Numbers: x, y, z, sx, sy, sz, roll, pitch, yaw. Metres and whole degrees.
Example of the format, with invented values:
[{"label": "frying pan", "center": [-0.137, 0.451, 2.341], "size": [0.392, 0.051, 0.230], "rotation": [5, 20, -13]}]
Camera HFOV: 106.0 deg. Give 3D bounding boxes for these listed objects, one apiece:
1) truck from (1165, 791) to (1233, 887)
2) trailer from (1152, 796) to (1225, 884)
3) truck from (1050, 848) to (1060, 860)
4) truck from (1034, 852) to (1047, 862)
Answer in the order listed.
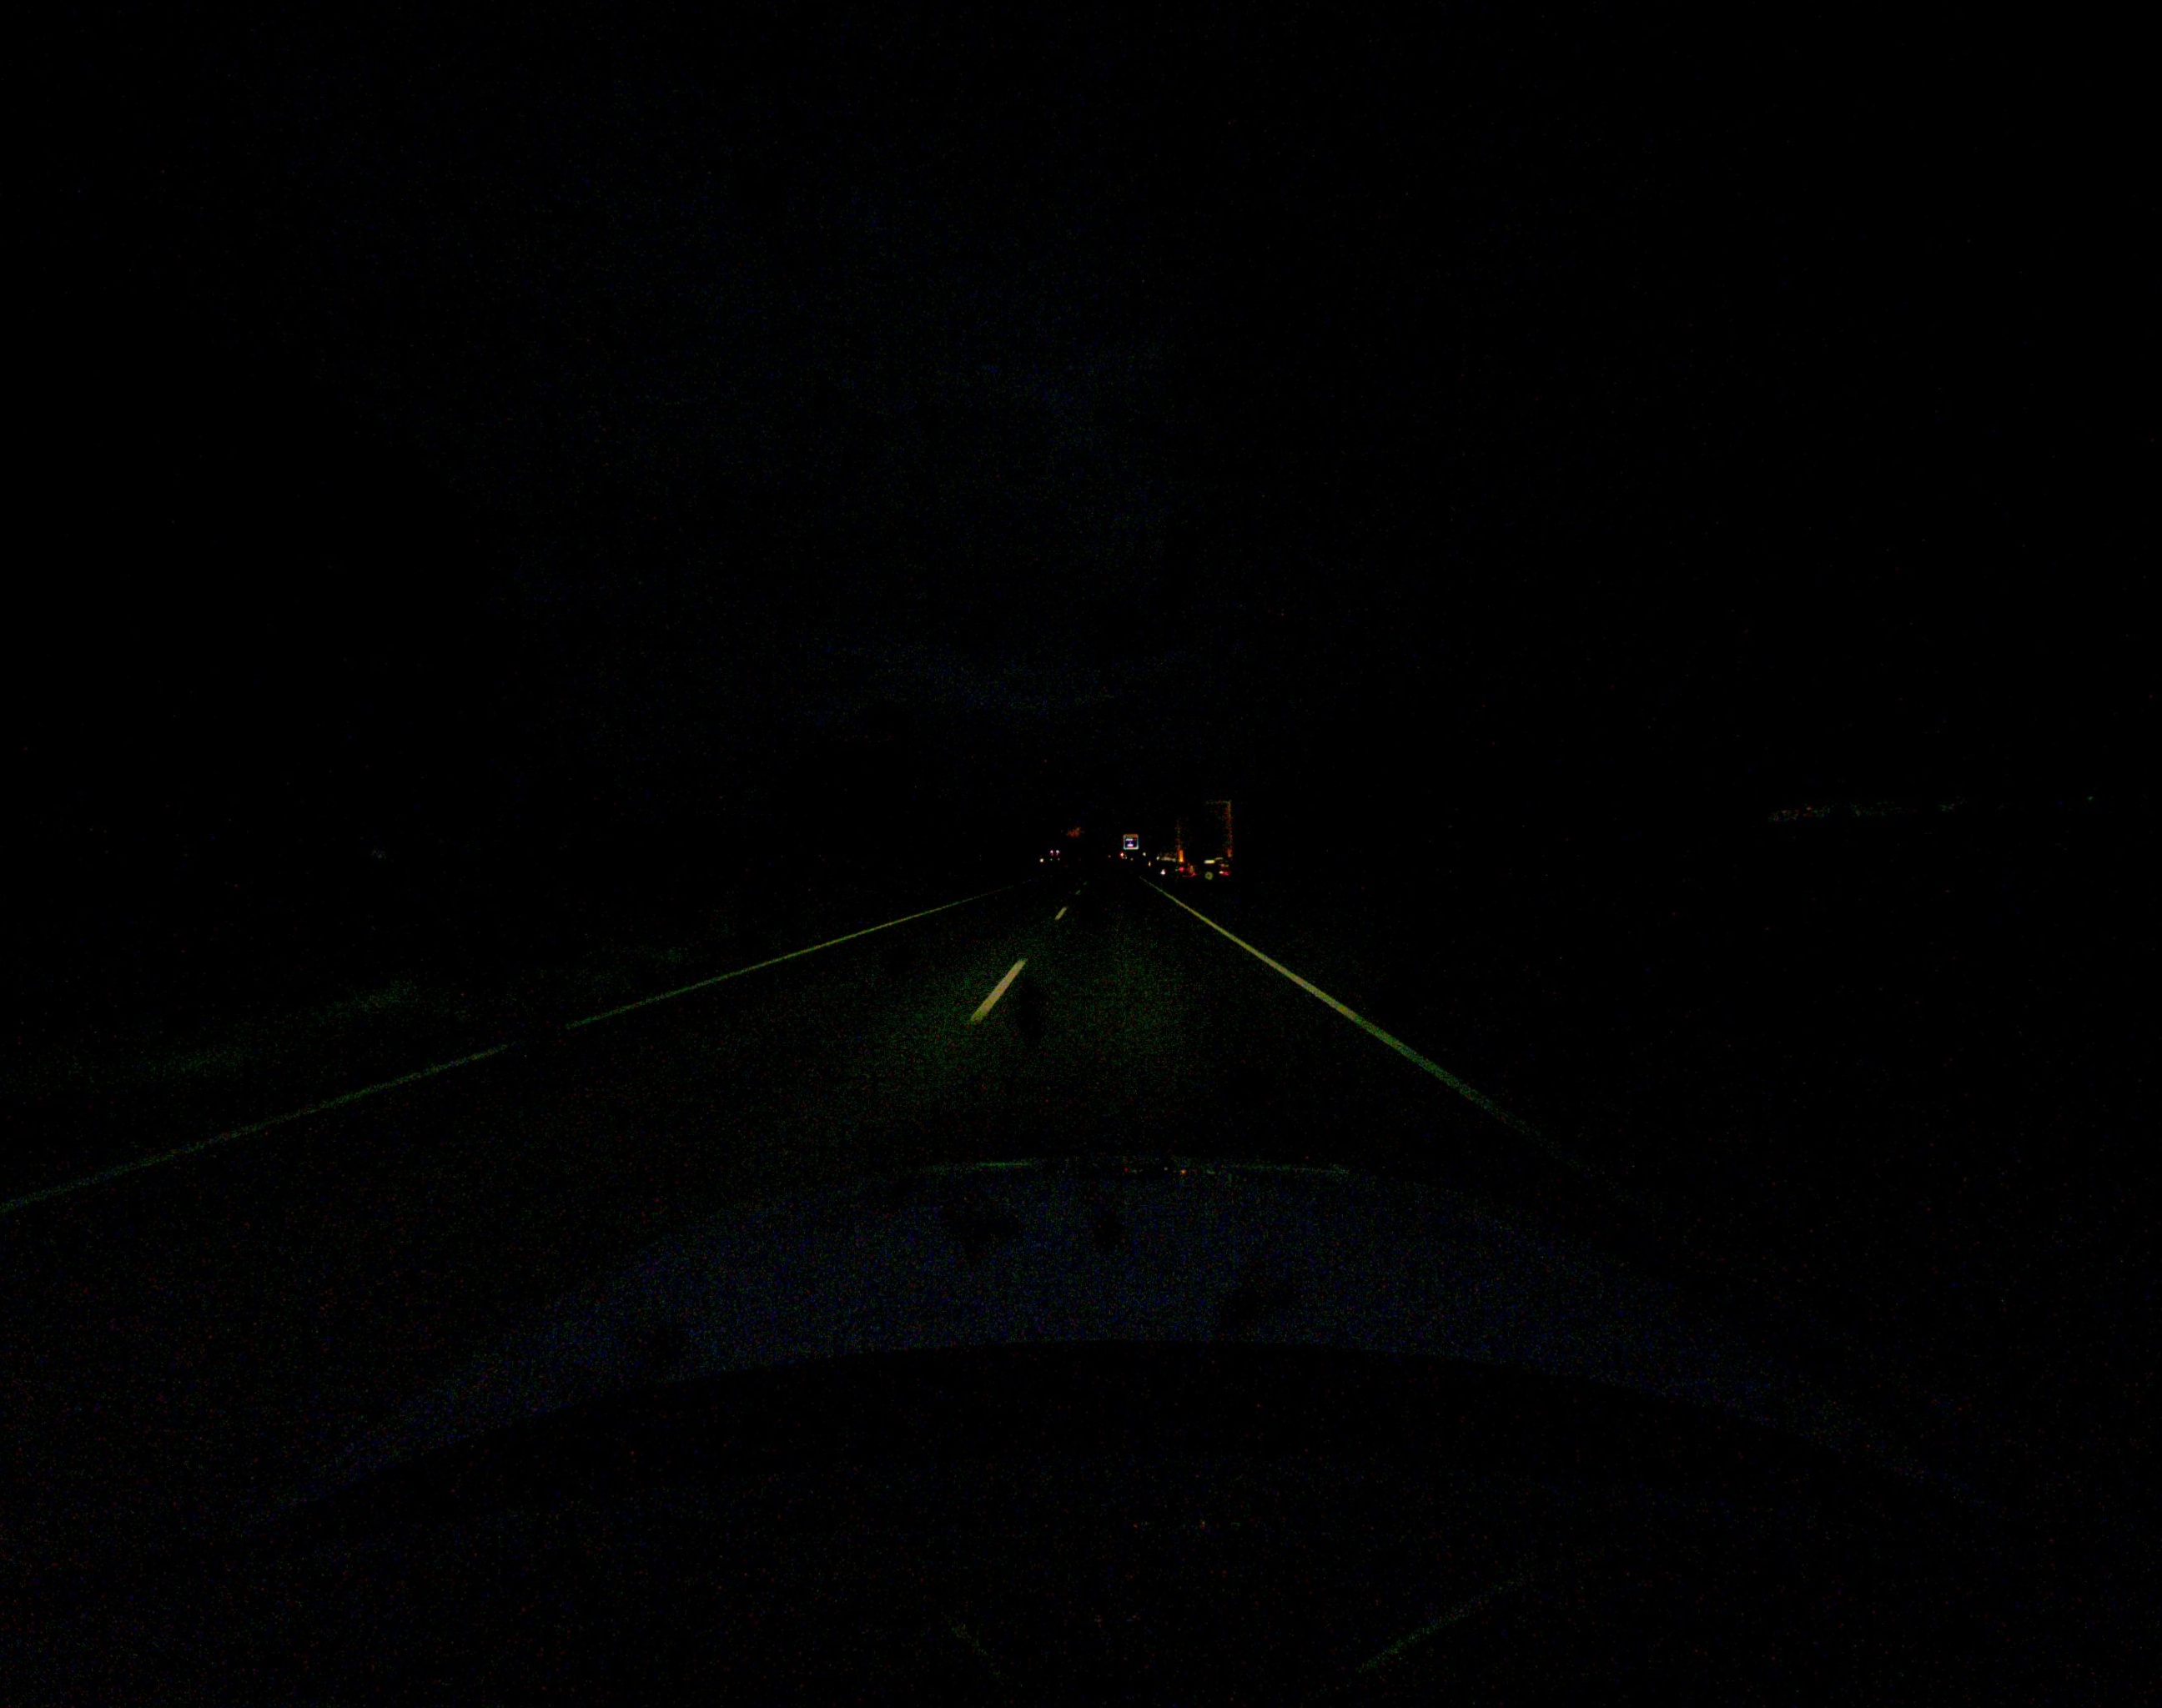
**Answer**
[{"label": "truck", "center": [5.310, -0.670, 37.565], "size": [2.569, 4.071, 6.134], "rotation": [0, 0, 3]}, {"label": "trailer", "center": [5.645, -0.659, 44.932], "size": [2.612, 4.104, 12.942], "rotation": [-1, 0, 2]}, {"label": "truck", "center": [-7.217, -0.034, 230.082], "size": [2.210, 3.445, 6.719], "rotation": [1, -1, 3]}, {"label": "truck", "center": [-7.271, 0.540, 146.486], "size": [2.009, 1.653, 4.774], "rotation": [1, -1, 1]}]
